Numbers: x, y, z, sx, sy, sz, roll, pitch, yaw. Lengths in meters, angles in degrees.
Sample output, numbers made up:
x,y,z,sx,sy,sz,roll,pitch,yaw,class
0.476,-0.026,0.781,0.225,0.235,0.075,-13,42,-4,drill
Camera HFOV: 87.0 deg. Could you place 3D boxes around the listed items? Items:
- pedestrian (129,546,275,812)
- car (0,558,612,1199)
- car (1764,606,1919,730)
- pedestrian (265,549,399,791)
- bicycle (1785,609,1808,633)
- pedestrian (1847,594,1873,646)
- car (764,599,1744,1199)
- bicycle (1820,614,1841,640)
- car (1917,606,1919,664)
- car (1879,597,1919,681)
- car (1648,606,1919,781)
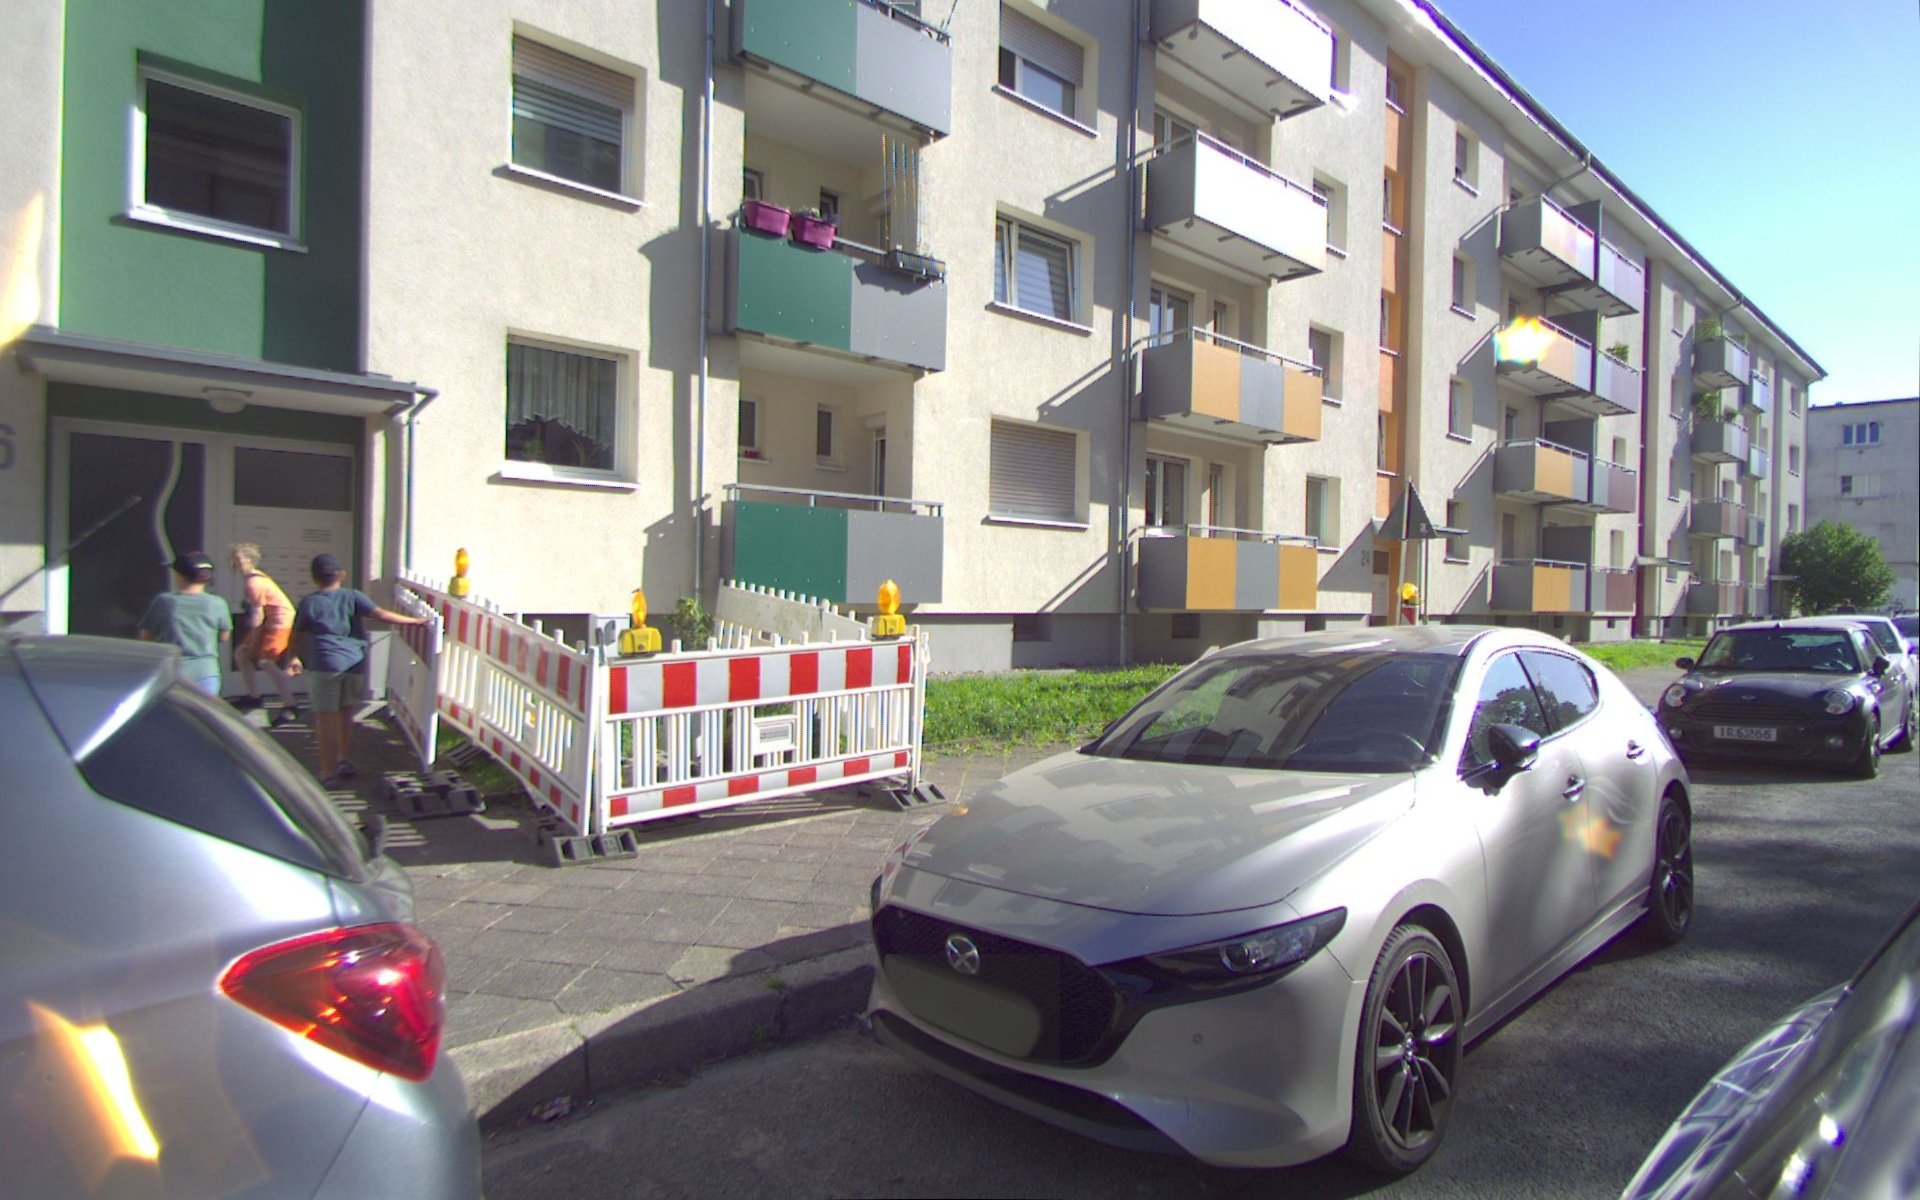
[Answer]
x,y,z,sx,sy,sz,roll,pitch,yaw,class
-4.409,0.429,5.896,0.447,1.451,0.503,3,1,28,pedestrian
-2.459,0.700,0.720,3.872,1.478,1.647,0,0,-42,car
12.534,0.835,14.048,3.756,1.481,1.687,0,0,-44,car
-4.018,0.418,6.485,0.469,1.451,0.569,3,1,39,pedestrian
35.624,0.878,43.087,2.246,0.972,0.485,1,1,-45,bicycle
31.470,0.683,35.379,0.645,1.794,0.827,1,0,44,pedestrian
1.534,0.783,4.170,4.262,1.490,1.795,0,-3,-40,car
36.290,1.109,42.179,2.246,1.024,0.485,1,1,-45,bicycle
26.175,0.902,26.002,4.442,1.462,1.756,0,1,-40,car
20.673,0.769,21.026,4.524,1.643,1.900,0,-1,-43,car
8.704,0.840,10.481,3.519,1.486,1.690,0,-3,-40,car
